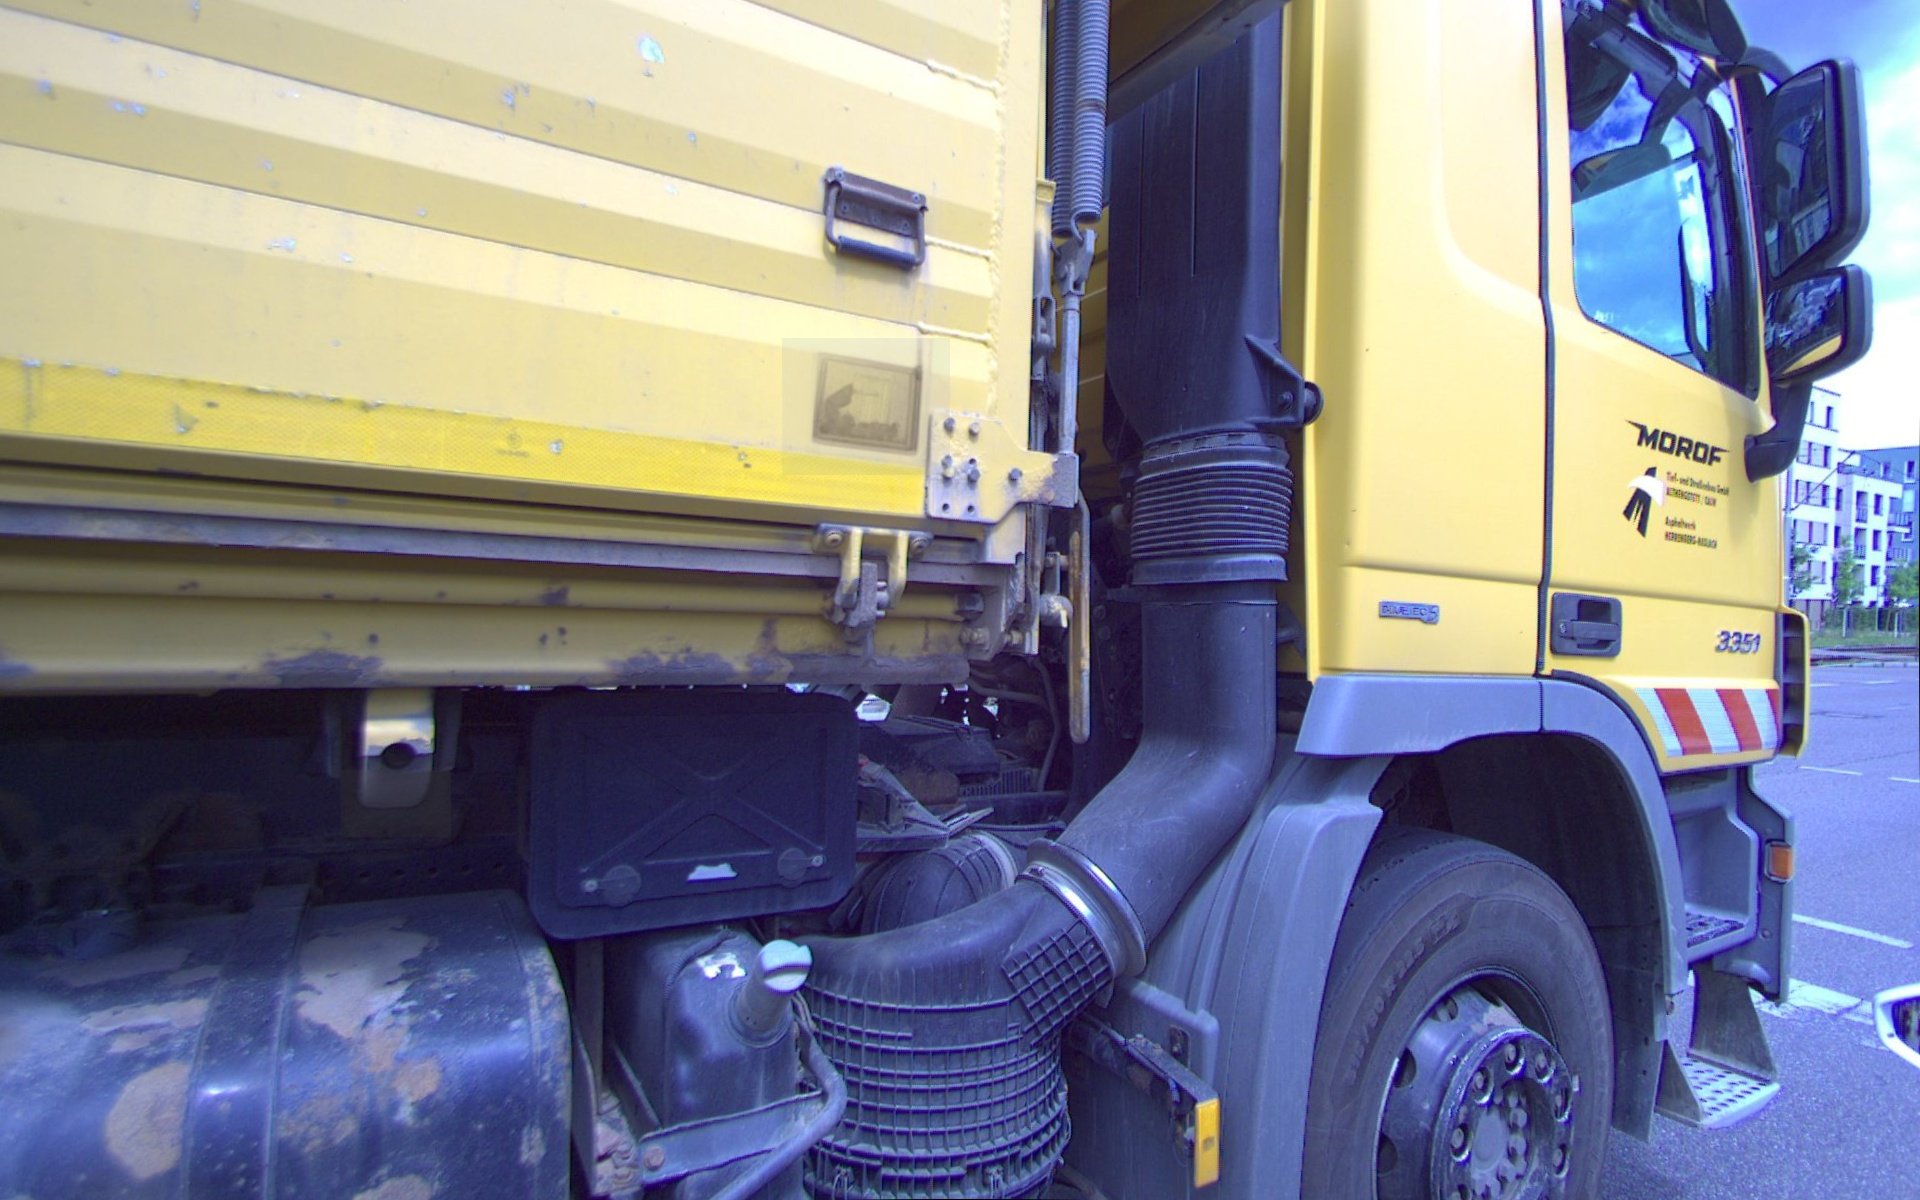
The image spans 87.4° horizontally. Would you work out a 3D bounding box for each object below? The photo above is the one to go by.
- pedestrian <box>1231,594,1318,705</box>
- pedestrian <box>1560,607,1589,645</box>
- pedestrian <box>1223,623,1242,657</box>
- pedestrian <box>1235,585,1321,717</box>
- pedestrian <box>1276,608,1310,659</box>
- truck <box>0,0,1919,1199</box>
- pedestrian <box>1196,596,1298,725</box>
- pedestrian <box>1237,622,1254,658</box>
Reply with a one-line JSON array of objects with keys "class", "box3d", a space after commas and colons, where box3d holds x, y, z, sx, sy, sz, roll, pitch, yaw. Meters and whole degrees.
[{"class": "pedestrian", "box3d": [4.785, 0.730, 15.304, 0.897, 1.618, 0.888, 1, 0, -30]}, {"class": "pedestrian", "box3d": [25.156, 1.057, 41.118, 0.628, 1.536, 0.827, 1, 0, -30]}, {"class": "pedestrian", "box3d": [9.180, 1.346, 33.850, 0.496, 1.139, 0.421, 2, 0, 29]}, {"class": "pedestrian", "box3d": [4.417, 0.679, 13.982, 0.818, 1.766, 0.778, 1, 0, -30]}, {"class": "pedestrian", "box3d": [11.189, 1.106, 33.762, 1.048, 1.670, 0.708, 1, 0, 18]}, {"class": "truck", "box3d": [-1.750, -0.238, 1.649, 7.916, 3.439, 3.033, 1, 0, -32]}, {"class": "pedestrian", "box3d": [3.788, 0.764, 13.291, 0.918, 1.628, 0.908, 1, 0, -30]}, {"class": "pedestrian", "box3d": [9.487, 1.325, 33.352, 0.434, 1.143, 0.373, 2, 0, 29]}]
